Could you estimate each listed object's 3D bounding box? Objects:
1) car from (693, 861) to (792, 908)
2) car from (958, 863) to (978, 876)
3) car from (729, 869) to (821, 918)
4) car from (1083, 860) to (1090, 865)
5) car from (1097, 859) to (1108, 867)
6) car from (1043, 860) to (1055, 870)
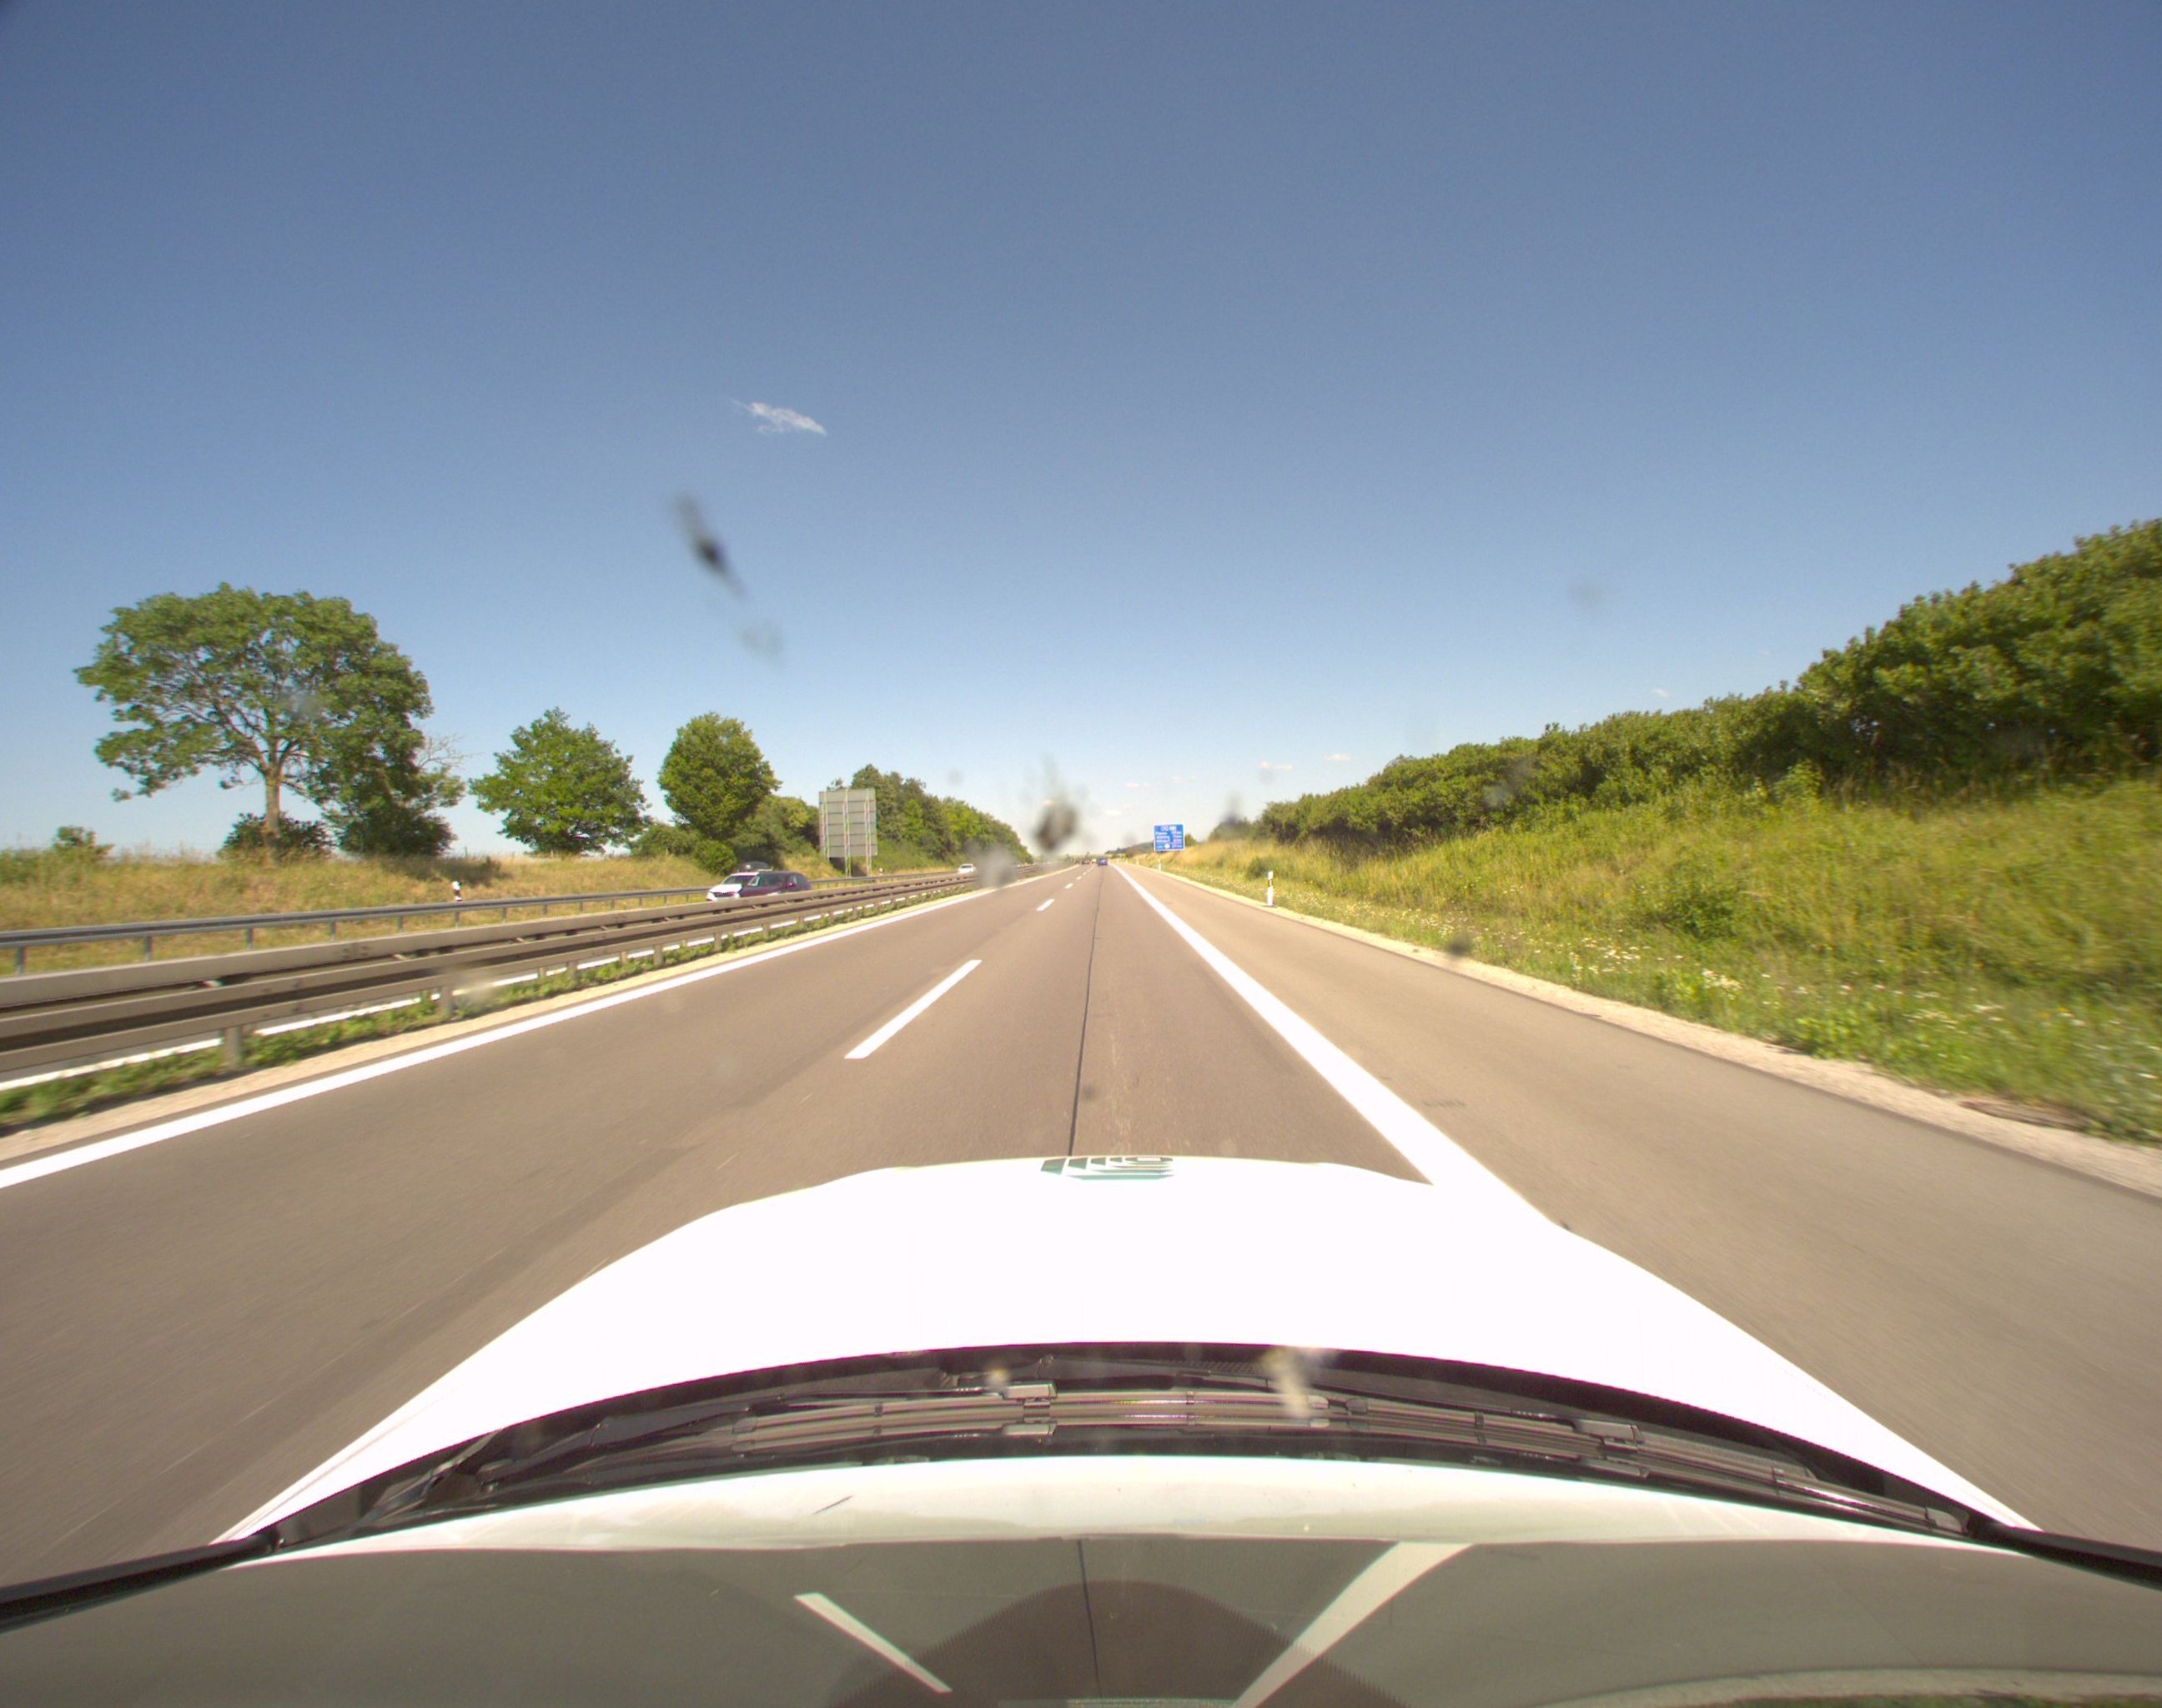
[{"bbox_3d":[-14.415,1.235,35.067,1.938,1.845,5.186,-2,0,2],"label":"car"},{"bbox_3d":[-12.721,1.695,91.611,1.516,1.352,4.234,-2,0,2],"label":"car"},{"bbox_3d":[-10.735,1.348,28.898,1.610,1.531,4.001,-2,0,2],"label":"car"},{"bbox_3d":[1.462,2.400,226.471,1.822,1.453,3.593,-3,-1,2],"label":"car"},{"bbox_3d":[3.814,1.594,145.471,1.669,1.453,3.595,-3,-1,3],"label":"car"},{"bbox_3d":[-6.741,2.271,172.035,1.986,1.973,5.041,-2,0,2],"label":"car"}]
